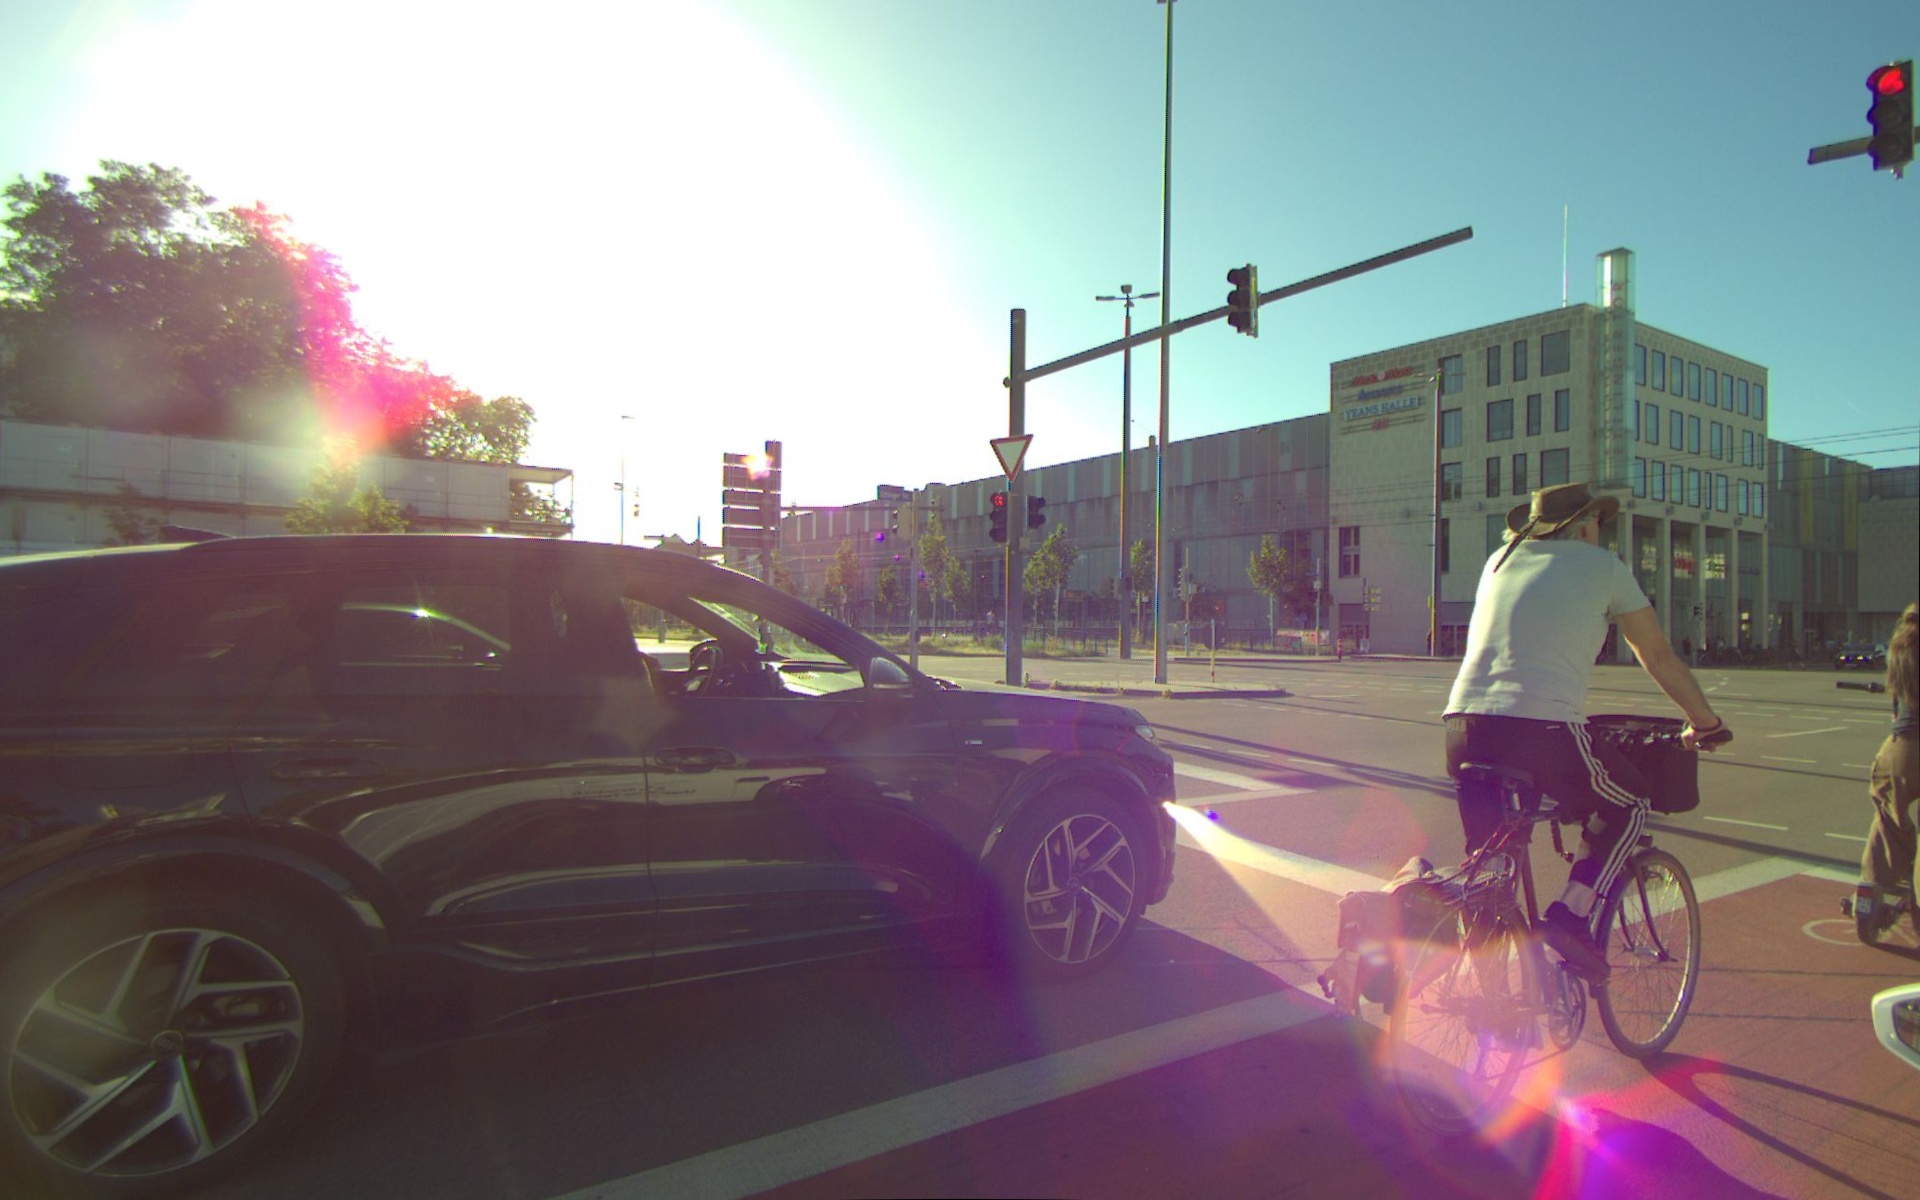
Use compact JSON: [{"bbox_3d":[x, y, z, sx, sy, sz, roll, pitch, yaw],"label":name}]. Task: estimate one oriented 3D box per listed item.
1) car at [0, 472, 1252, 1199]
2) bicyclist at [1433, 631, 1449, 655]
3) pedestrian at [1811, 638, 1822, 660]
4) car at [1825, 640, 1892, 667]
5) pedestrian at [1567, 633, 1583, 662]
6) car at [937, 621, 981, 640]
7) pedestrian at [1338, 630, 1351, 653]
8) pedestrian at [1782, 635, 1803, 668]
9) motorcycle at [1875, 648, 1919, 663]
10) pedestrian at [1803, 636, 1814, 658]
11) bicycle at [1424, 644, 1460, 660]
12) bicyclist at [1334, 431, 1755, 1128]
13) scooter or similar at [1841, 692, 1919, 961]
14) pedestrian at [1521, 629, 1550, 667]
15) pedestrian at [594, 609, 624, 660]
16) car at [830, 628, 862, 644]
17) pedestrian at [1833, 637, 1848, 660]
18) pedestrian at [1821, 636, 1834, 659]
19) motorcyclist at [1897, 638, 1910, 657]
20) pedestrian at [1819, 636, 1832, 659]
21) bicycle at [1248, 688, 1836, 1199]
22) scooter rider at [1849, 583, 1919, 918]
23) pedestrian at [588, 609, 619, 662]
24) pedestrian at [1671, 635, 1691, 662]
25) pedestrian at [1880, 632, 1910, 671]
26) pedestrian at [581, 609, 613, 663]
[{"bbox_3d":[-1.253,0.612,4.056,4.613,1.729,2.153,1,0,-32],"label":"car"},{"bbox_3d":[29.005,2.597,60.576,0.619,1.467,0.586,1,-1,-20],"label":"bicyclist"},{"bbox_3d":[69.714,3.985,81.740,0.510,1.752,0.472,2,0,9],"label":"pedestrian"},{"bbox_3d":[49.673,2.938,55.504,3.975,1.375,1.668,1,-1,-31],"label":"car"},{"bbox_3d":[35.857,2.761,58.566,0.622,1.667,0.589,1,-1,-30],"label":"pedestrian"},{"bbox_3d":[-0.139,2.794,93.744,1.805,1.706,4.818,1,-2,-32],"label":"car"},{"bbox_3d":[27.080,2.917,70.801,0.622,1.562,0.589,1,-1,-30],"label":"pedestrian"},{"bbox_3d":[43.861,2.688,52.912,0.612,1.710,0.697,1,-1,-29],"label":"pedestrian"},{"bbox_3d":[70.541,4.139,75.414,1.106,1.006,2.582,2,0,-38],"label":"motorcycle"},{"bbox_3d":[68.557,3.783,81.173,0.510,1.752,0.472,2,0,9],"label":"pedestrian"},{"bbox_3d":[29.015,3.123,60.507,0.628,0.915,2.208,1,-1,-20],"label":"bicycle"},{"bbox_3d":[1.750,0.456,3.054,0.842,1.723,0.802,1,-1,-30],"label":"bicyclist"},{"bbox_3d":[4.410,1.017,4.721,0.832,1.122,0.303,2,-1,-42],"label":"scooter or similar"},{"bbox_3d":[26.178,2.189,45.690,0.994,1.697,0.818,1,-1,-33],"label":"pedestrian"},{"bbox_3d":[-11.414,1.106,32.692,0.736,1.632,0.716,2,0,-5],"label":"pedestrian"},{"bbox_3d":[-12.678,3.961,111.071,1.805,1.706,4.379,1,-2,-32],"label":"car"},{"bbox_3d":[69.214,3.792,78.962,0.681,1.752,0.472,2,0,9],"label":"pedestrian"},{"bbox_3d":[69.941,3.824,80.964,0.616,1.752,0.471,2,0,-1],"label":"pedestrian"},{"bbox_3d":[70.814,3.570,75.374,0.657,1.424,0.623,2,0,-38],"label":"motorcyclist"},{"bbox_3d":[68.272,3.765,79.238,0.615,1.752,0.472,2,0,4],"label":"pedestrian"},{"bbox_3d":[1.823,0.894,3.067,1.868,1.162,0.735,1,-1,-30],"label":"bicycle"},{"bbox_3d":[4.637,0.699,4.768,0.445,1.550,0.548,1,-1,-38],"label":"scooter rider"},{"bbox_3d":[-11.299,1.105,31.830,0.736,1.632,0.716,2,0,-5],"label":"pedestrian"},{"bbox_3d":[45.520,3.049,63.424,0.616,1.660,0.776,1,-1,-18],"label":"pedestrian"},{"bbox_3d":[46.125,2.525,49.547,0.529,1.889,0.943,1,-1,-13],"label":"pedestrian"},{"bbox_3d":[-11.241,1.103,31.102,0.736,1.632,0.716,2,0,-5],"label":"pedestrian"}]
